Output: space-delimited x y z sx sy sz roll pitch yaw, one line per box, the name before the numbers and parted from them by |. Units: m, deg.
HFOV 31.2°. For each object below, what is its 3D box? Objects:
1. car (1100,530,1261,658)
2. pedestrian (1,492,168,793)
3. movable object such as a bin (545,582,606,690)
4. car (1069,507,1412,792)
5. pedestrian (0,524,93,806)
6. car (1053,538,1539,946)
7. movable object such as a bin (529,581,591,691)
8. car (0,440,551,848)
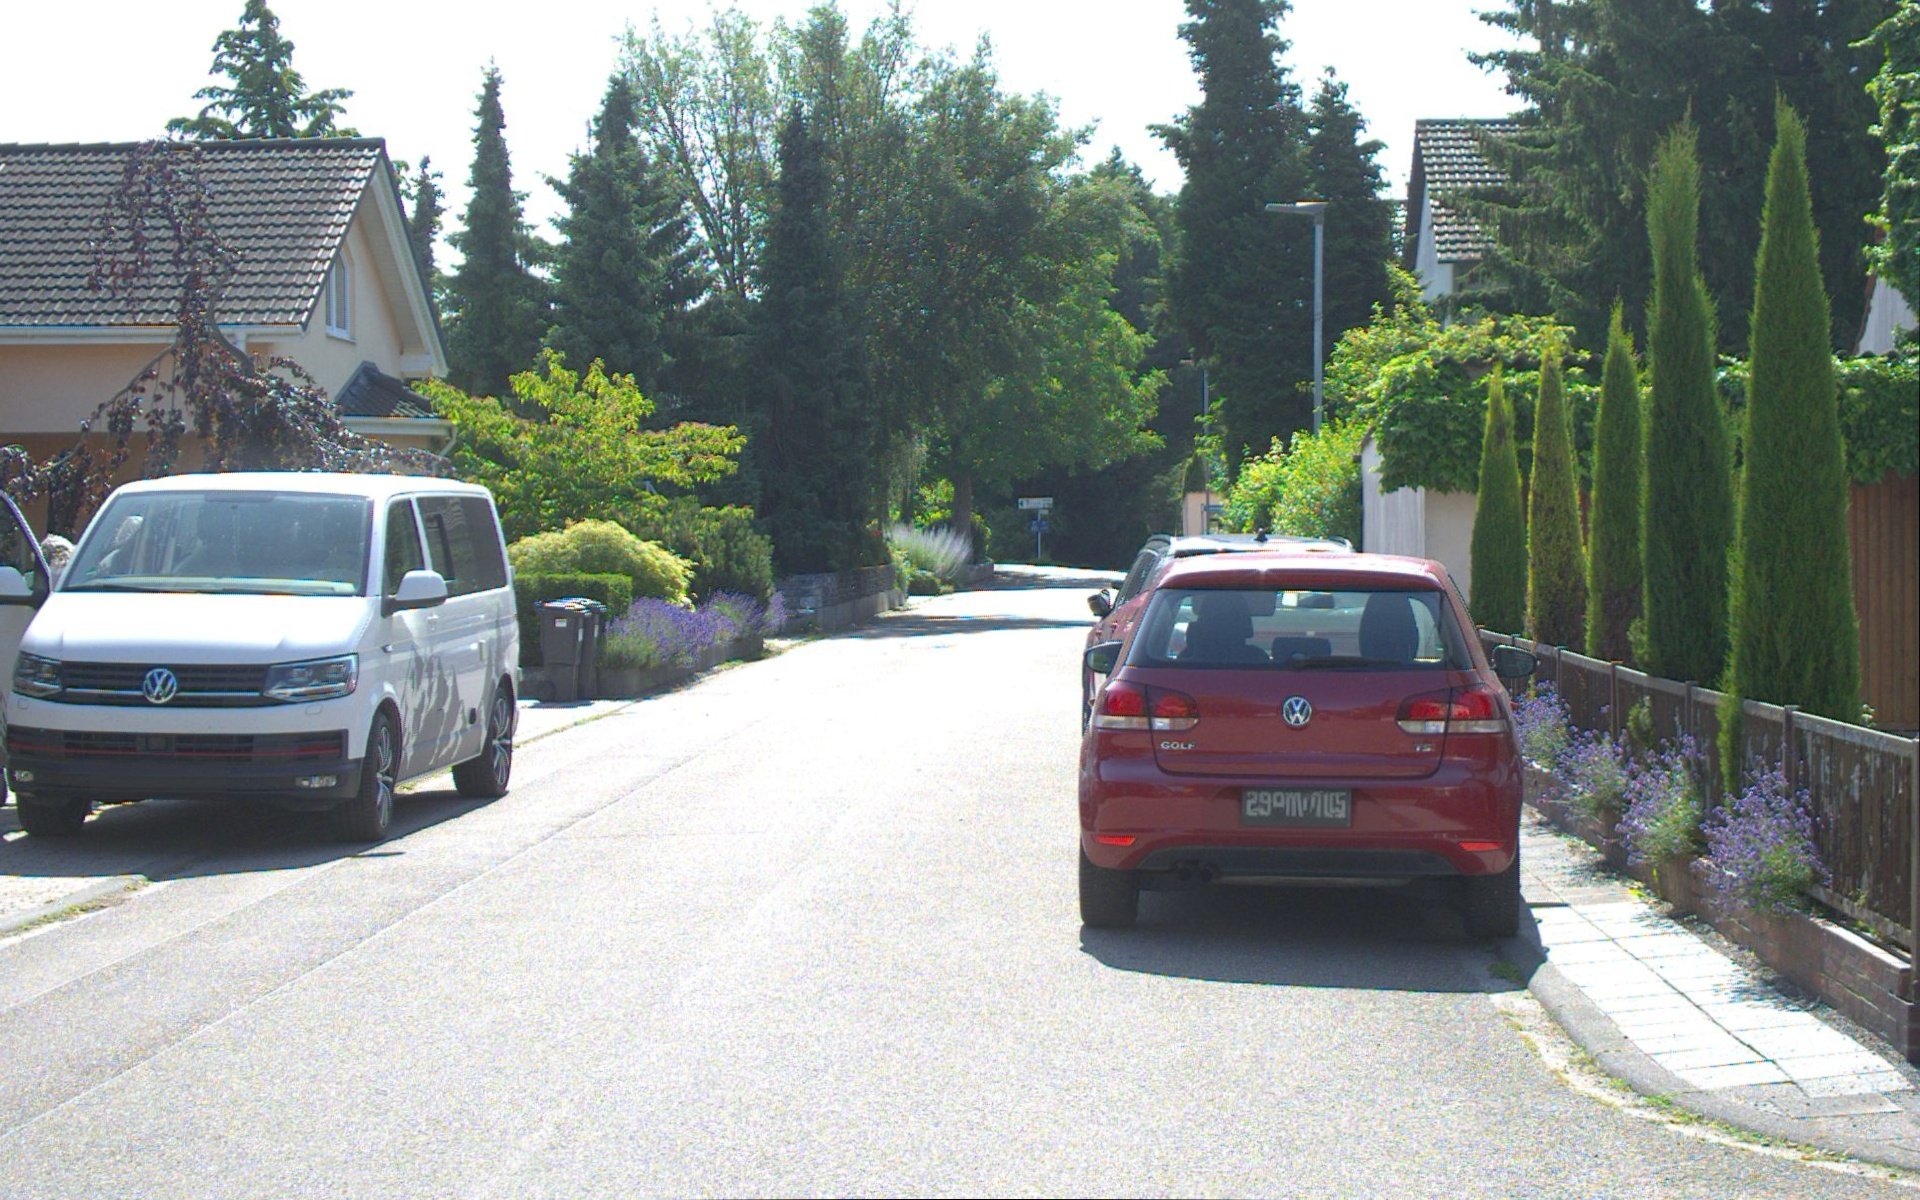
car | 2.506 -0.108 39.865 1.702 1.395 4.000 0 1 2
pedestrian | -5.126 0.232 20.134 0.691 1.725 0.641 1 2 34
movable object such as a bin | -3.689 0.342 33.011 0.494 1.021 0.447 -1 1 3
car | 1.656 0.242 21.545 1.822 1.610 4.000 0 1 0
pedestrian | -5.340 0.346 19.216 0.718 1.533 0.640 1 2 36
car | 1.458 0.488 14.824 1.776 1.474 3.999 1 1 6
movable object such as a bin | -3.786 0.335 32.551 0.494 1.021 0.447 -1 1 3
car | -3.743 0.171 19.401 1.929 2.007 4.895 0 1 4
